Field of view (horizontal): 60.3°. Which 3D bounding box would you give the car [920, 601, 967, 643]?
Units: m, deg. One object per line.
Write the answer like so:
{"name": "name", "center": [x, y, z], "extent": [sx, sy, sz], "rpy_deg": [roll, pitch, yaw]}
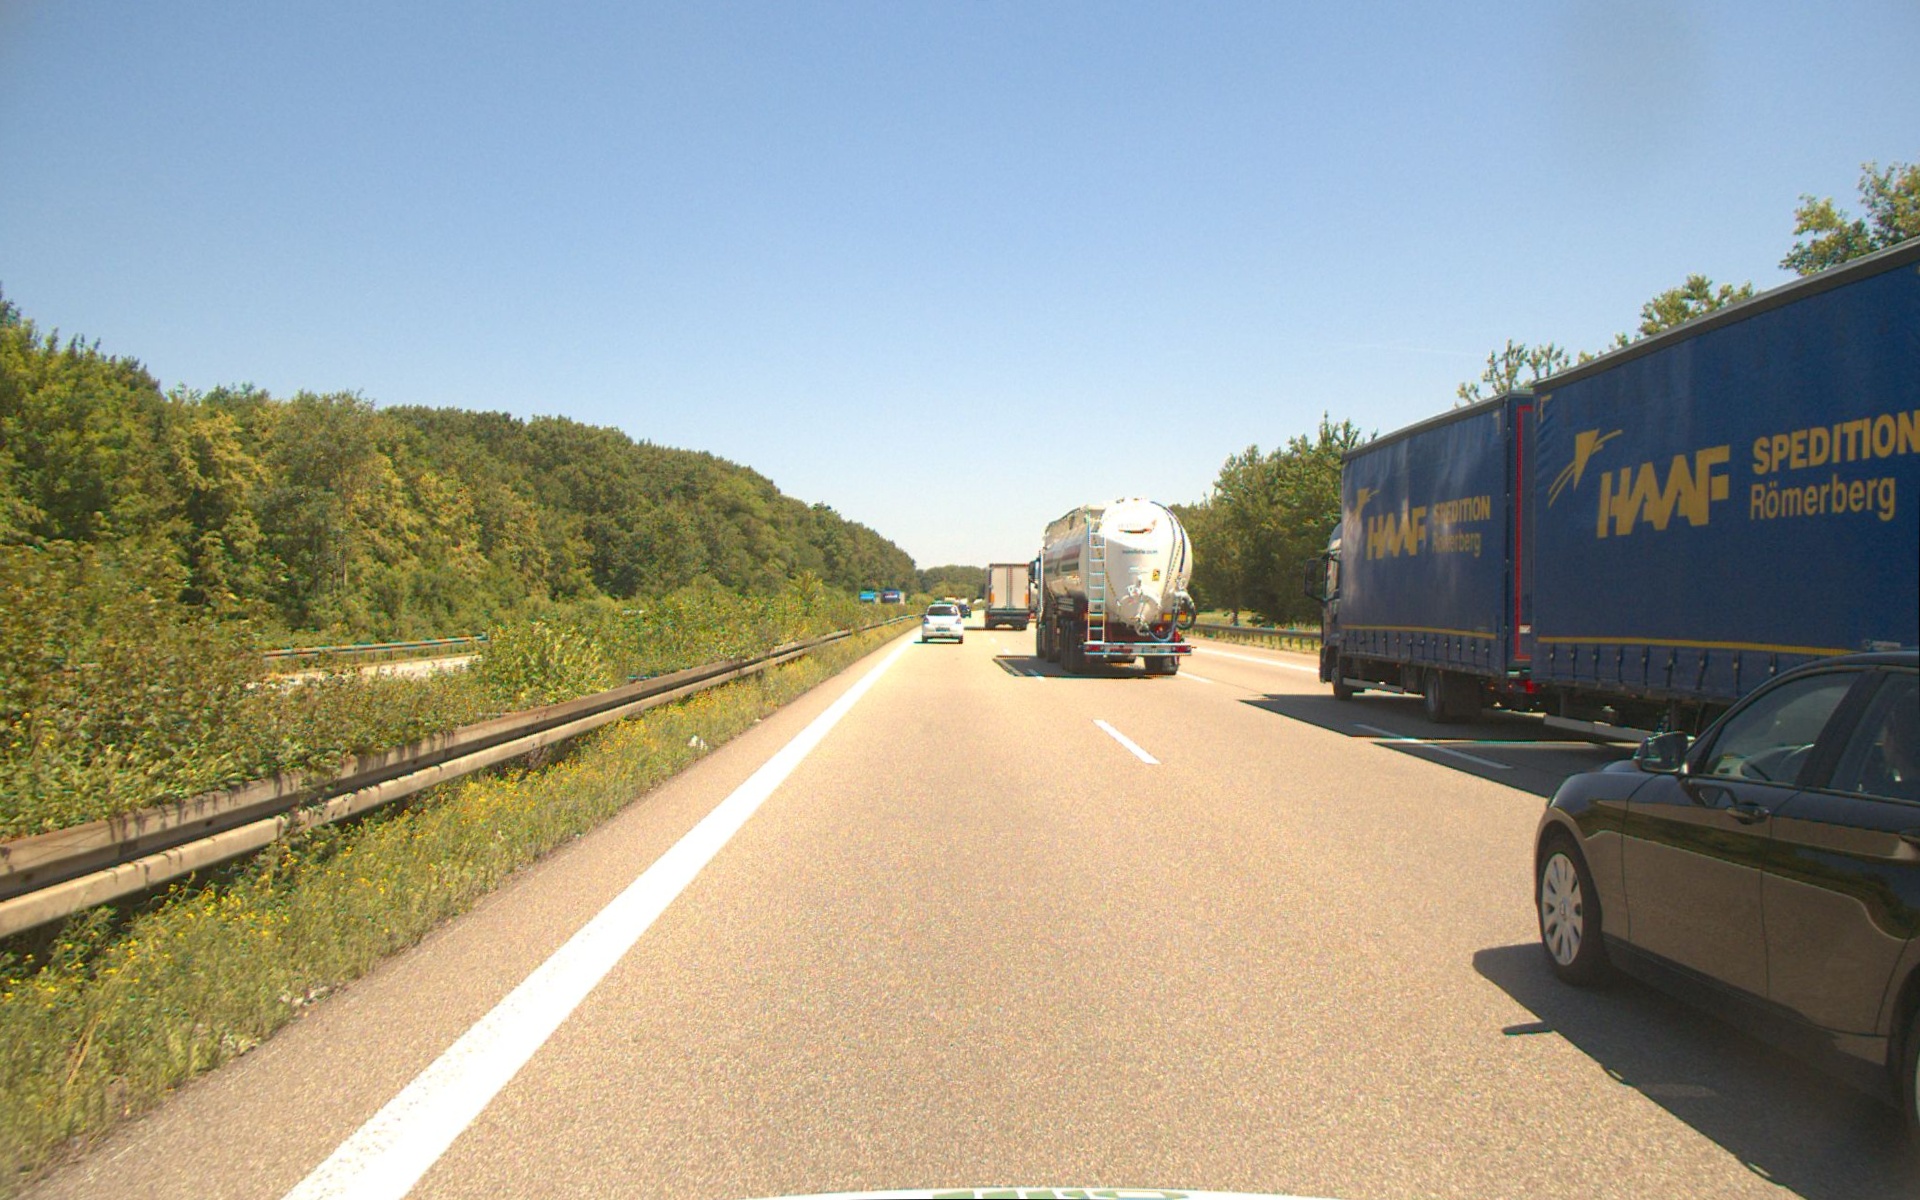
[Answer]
{"name": "car", "center": [-0.701, 0.868, 66.647], "extent": [1.763, 1.579, 3.608], "rpy_deg": [1, 0, -2]}

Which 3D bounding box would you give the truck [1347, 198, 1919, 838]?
{"name": "truck", "center": [7.738, -0.547, 18.257], "extent": [3.045, 4.211, 15.508], "rpy_deg": [1, 0, -1]}

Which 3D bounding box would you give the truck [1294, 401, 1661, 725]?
{"name": "truck", "center": [7.637, -0.501, 25.819], "extent": [3.045, 4.211, 8.055], "rpy_deg": [1, 0, -1]}

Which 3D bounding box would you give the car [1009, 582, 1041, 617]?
{"name": "car", "center": [6.097, -0.049, 155.448], "extent": [2.615, 3.245, 5.566], "rpy_deg": [1, 0, -1]}

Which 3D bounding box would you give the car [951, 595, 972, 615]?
{"name": "car", "center": [0.160, 0.583, 200.560], "extent": [2.425, 2.395, 5.180], "rpy_deg": [1, 0, -1]}

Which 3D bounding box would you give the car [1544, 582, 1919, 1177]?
{"name": "car", "center": [3.421, 0.742, 5.123], "extent": [1.812, 1.549, 3.957], "rpy_deg": [1, 0, 0]}

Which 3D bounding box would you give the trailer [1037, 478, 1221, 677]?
{"name": "trailer", "center": [3.869, -0.491, 41.127], "extent": [2.853, 4.140, 12.413], "rpy_deg": [1, 0, -2]}

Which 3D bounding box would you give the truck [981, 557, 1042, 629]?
{"name": "truck", "center": [3.197, -0.462, 106.533], "extent": [3.325, 4.287, 12.081], "rpy_deg": [1, 0, -1]}

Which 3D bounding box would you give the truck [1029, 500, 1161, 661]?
{"name": "truck", "center": [3.677, -0.529, 46.768], "extent": [2.853, 4.150, 7.192], "rpy_deg": [1, 0, -2]}
